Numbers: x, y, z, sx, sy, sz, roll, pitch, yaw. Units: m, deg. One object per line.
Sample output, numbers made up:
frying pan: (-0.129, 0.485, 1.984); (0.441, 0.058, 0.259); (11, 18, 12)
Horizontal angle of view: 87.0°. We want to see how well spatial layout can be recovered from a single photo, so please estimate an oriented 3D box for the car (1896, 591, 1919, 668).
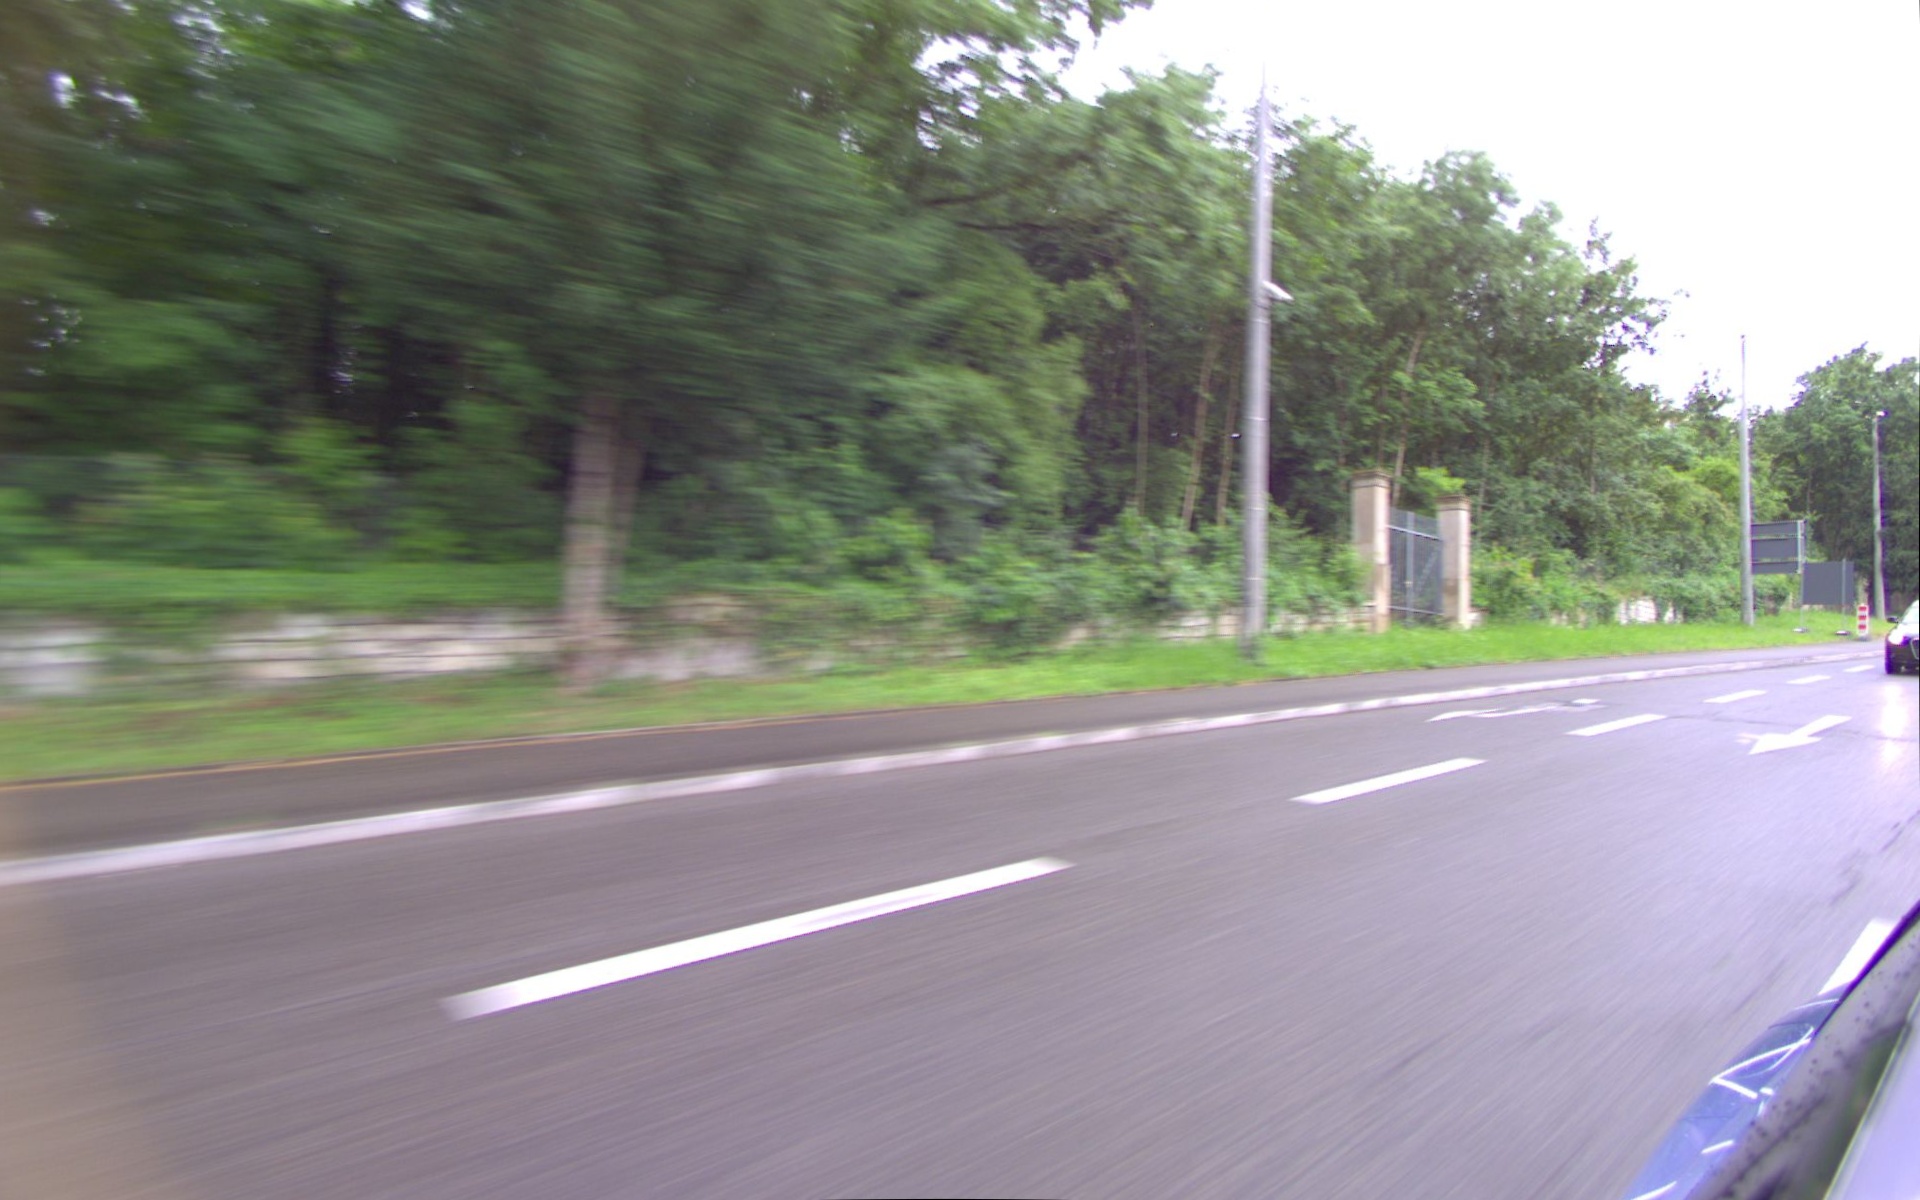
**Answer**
car: (21.978, 0.598, 22.026); (3.929, 1.608, 1.855); (0, 0, -40)
